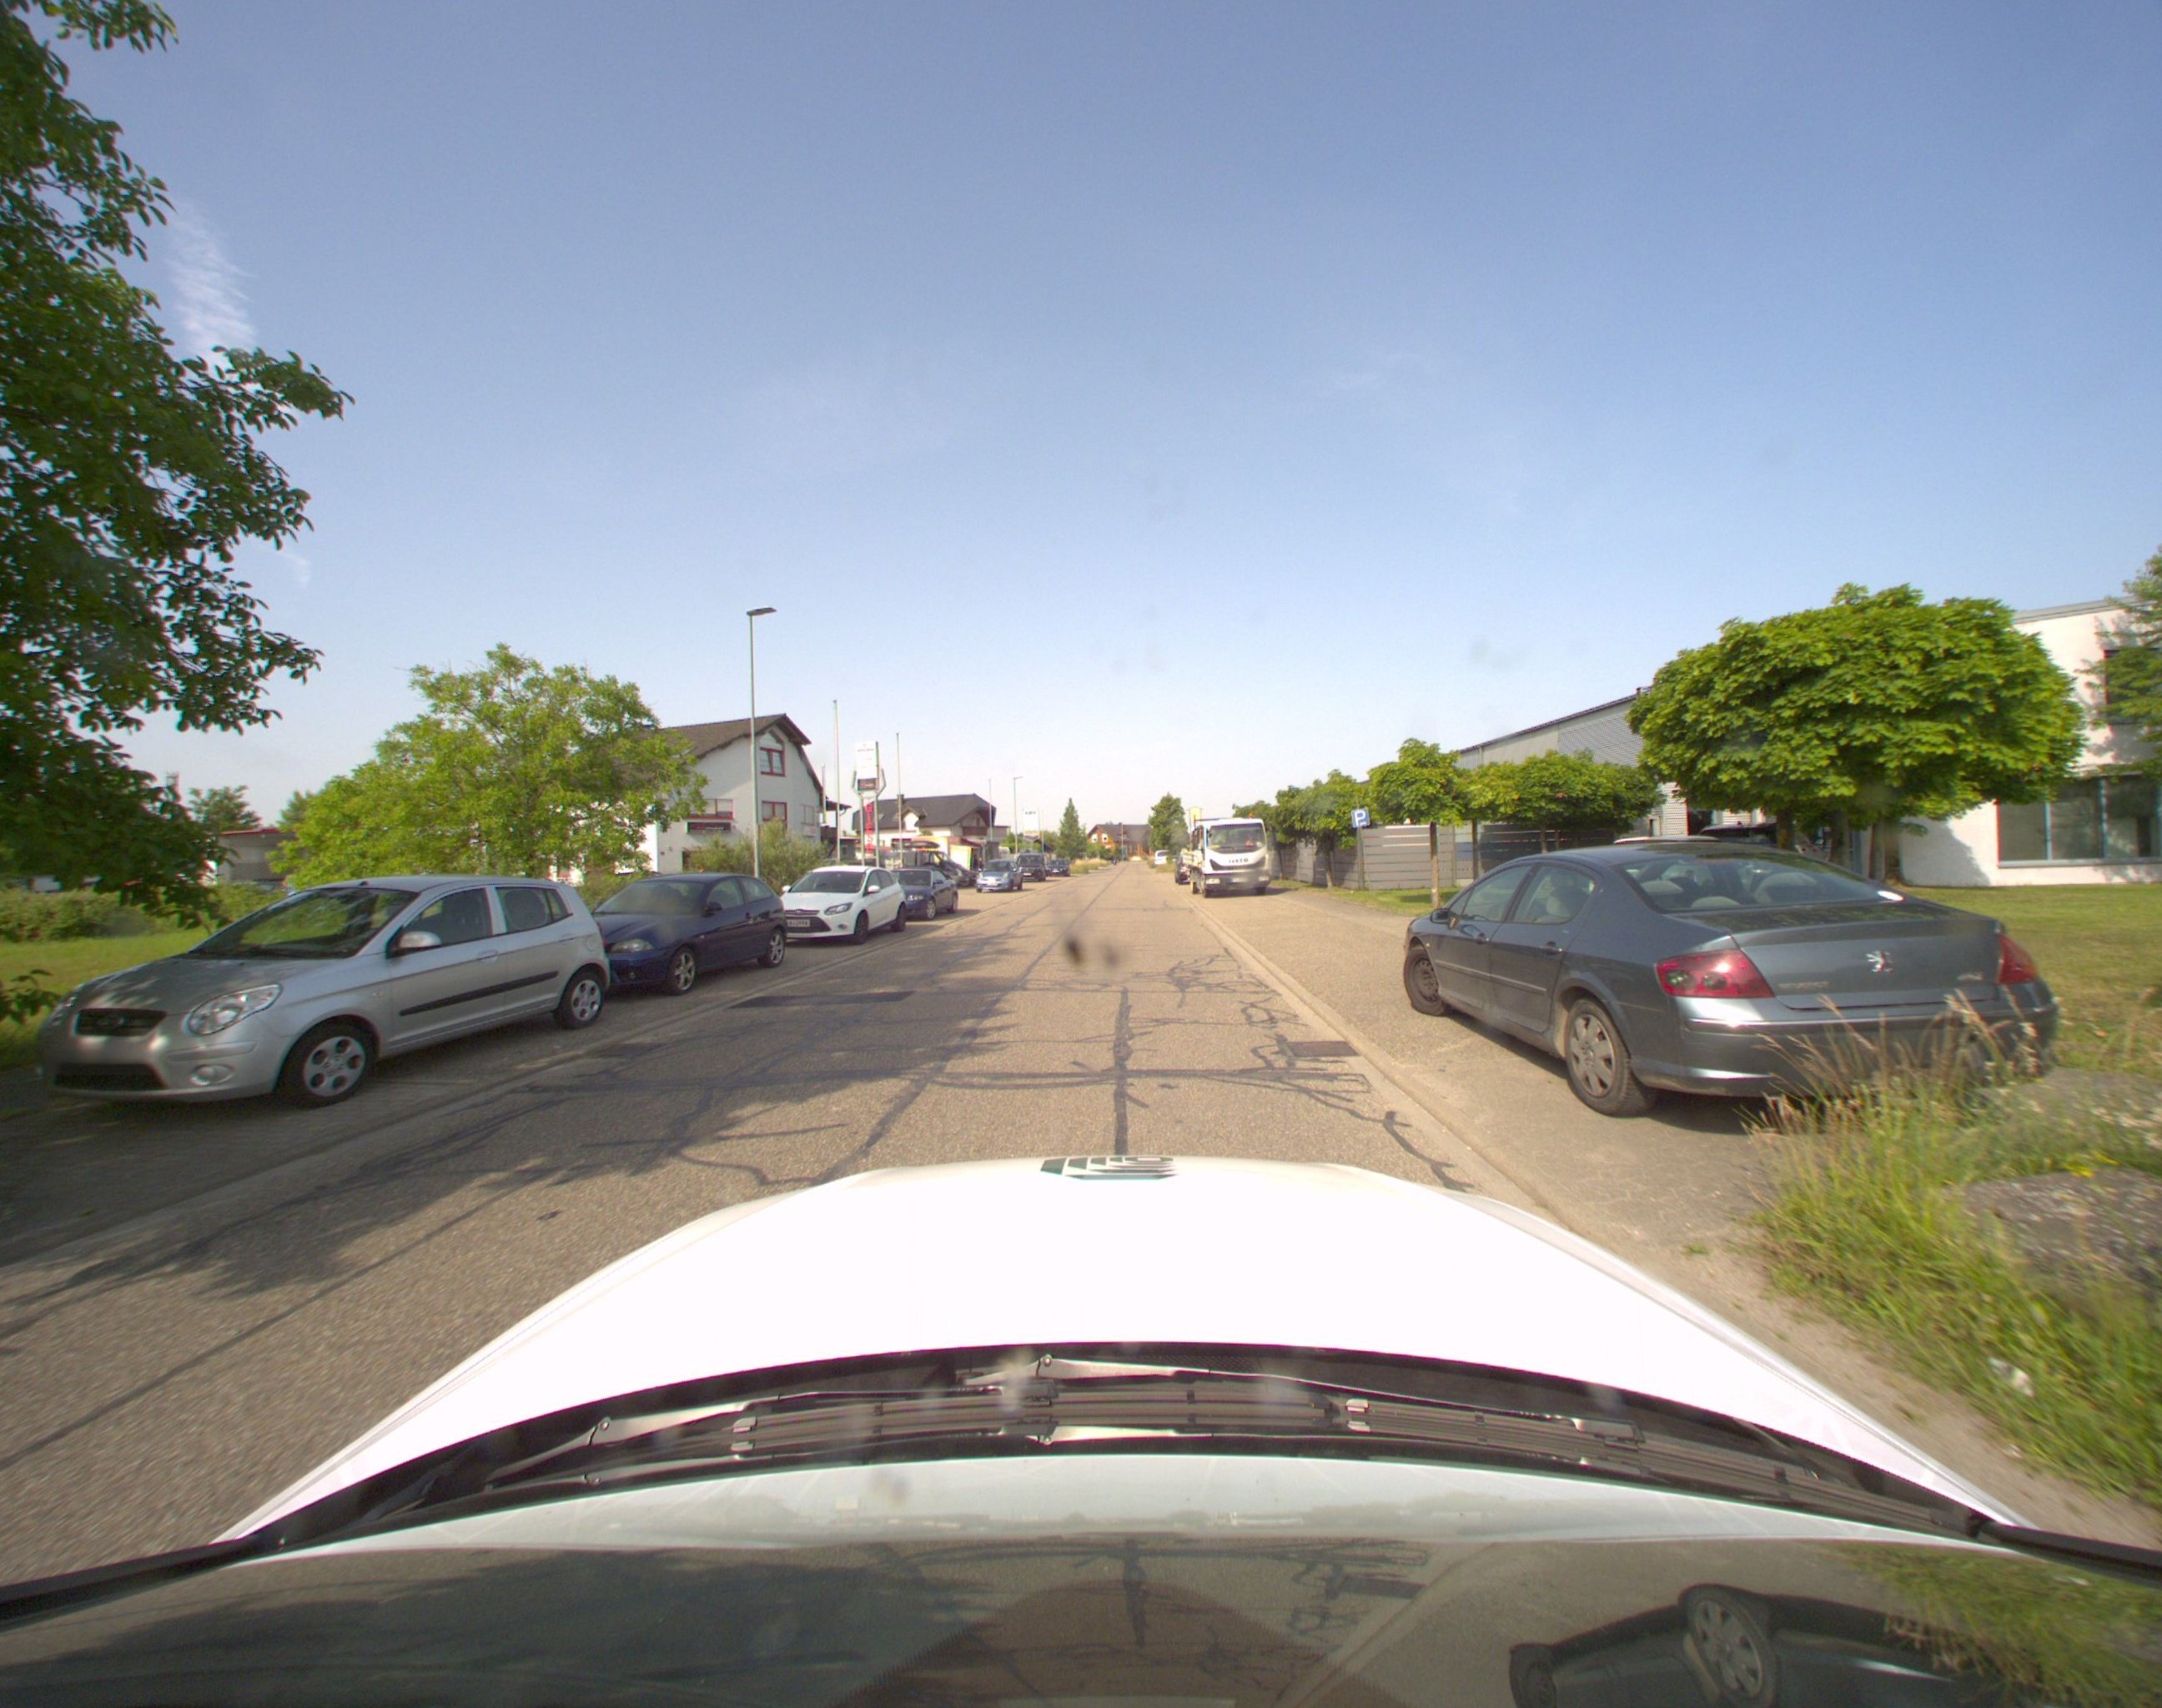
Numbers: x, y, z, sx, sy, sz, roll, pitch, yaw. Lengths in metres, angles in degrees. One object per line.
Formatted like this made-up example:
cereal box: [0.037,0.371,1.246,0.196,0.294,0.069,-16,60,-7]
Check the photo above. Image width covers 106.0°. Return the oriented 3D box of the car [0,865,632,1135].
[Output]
car: [-5.657,0.890,6.716,1.558,1.538,3.695,0,0,6]

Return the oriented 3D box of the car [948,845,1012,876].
car: [-9.159,0.575,73.867,5.110,2.586,2.591,-3,0,24]

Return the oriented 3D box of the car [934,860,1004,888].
car: [-6.232,1.106,45.660,3.576,1.414,1.762,-2,0,0]

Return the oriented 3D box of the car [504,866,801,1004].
car: [-5.397,0.920,10.919,1.571,1.443,3.969,0,0,6]

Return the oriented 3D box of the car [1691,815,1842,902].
car: [14.345,0.041,16.946,4.558,1.589,1.667,-2,0,-41]

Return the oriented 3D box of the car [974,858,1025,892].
car: [-3.800,0.939,38.424,1.625,1.517,3.612,0,0,6]

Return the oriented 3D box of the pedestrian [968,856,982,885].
pedestrian: [-6.478,1.023,49.806,0.566,1.715,0.528,-2,0,-34]

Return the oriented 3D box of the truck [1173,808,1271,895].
truck: [4.882,-0.071,29.300,2.351,2.681,6.510,-2,0,0]

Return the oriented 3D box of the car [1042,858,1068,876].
car: [-2.055,1.012,65.252,1.792,1.386,3.641,0,0,3]

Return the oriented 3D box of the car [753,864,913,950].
car: [-4.839,0.962,16.573,1.676,1.469,4.258,0,0,4]

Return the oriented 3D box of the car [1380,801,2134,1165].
car: [3.716,0.568,5.737,1.786,1.517,4.428,-2,0,3]

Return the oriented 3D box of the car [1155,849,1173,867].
car: [9.307,0.431,91.264,1.829,1.924,3.760,-3,0,4]

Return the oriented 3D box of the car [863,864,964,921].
car: [-4.516,0.992,22.577,1.626,1.387,4.374,0,0,4]

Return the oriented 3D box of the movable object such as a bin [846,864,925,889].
movable object such as a bin: [-9.521,1.101,39.819,3.300,1.147,1.768,0,0,12]

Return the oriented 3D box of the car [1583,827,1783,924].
car: [10.307,0.303,13.880,3.714,1.380,1.669,-2,0,-36]

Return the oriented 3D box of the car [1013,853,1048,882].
car: [-3.229,0.817,52.709,1.792,1.774,4.206,0,0,3]

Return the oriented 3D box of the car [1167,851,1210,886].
car: [5.397,0.739,41.228,1.787,1.560,4.003,-3,-1,3]

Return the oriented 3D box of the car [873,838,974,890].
car: [-8.067,0.523,42.017,4.603,2.416,2.003,-2,0,6]
